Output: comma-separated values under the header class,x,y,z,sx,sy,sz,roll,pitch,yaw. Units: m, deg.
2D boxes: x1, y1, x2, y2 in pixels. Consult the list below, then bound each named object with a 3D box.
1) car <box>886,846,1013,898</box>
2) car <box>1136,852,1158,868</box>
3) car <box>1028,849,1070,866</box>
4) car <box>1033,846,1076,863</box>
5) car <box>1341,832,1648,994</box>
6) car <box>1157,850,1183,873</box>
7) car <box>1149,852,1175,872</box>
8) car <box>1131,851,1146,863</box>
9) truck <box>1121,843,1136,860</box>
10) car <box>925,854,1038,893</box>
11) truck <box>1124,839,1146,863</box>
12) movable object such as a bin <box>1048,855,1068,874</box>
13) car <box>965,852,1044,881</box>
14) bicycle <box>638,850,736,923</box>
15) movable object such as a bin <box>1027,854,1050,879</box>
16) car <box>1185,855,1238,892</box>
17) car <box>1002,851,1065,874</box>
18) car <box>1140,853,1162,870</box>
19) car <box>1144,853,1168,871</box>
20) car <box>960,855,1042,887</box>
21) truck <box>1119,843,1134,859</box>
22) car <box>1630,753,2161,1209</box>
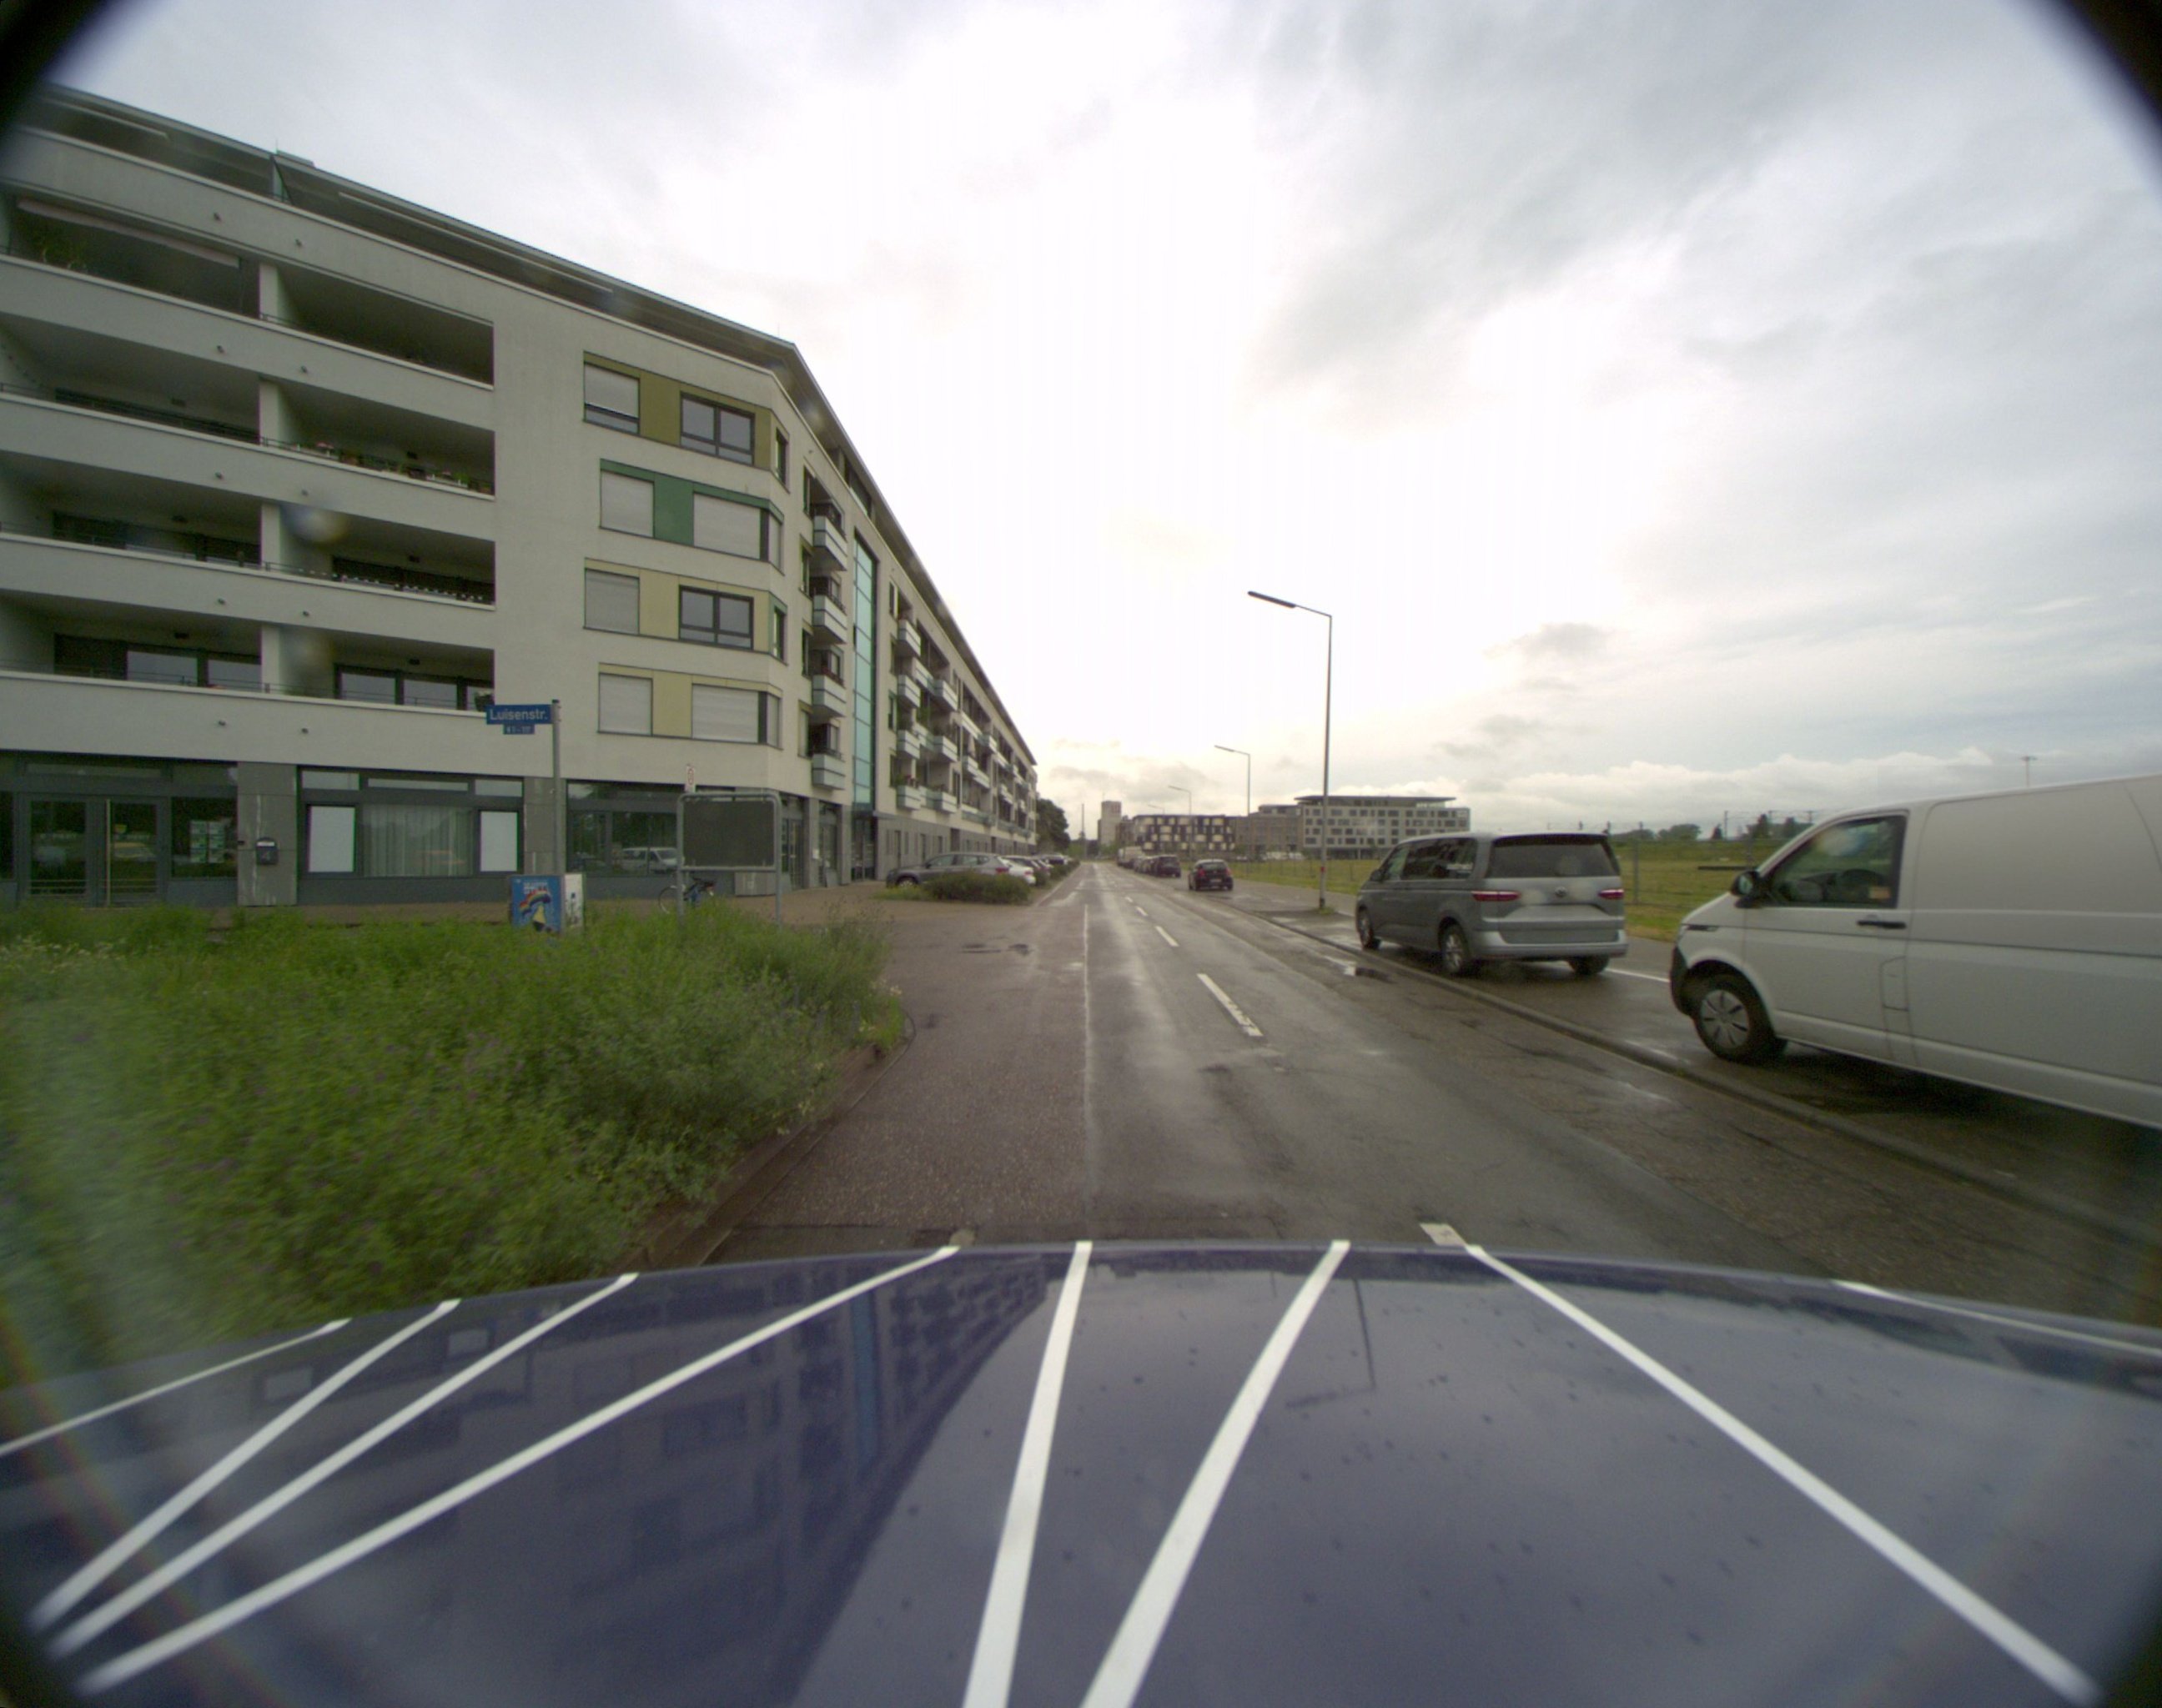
class,x,y,z,sx,sy,sz,roll,pitch,yaw
car,-4.557,0.597,26.899,4.100,1.614,1.966,2,1,0
car,6.967,0.597,81.000,1.857,1.598,4.988,-3,0,0
car,-3.304,0.369,79.183,4.218,1.634,1.686,1,1,0
car,-3.205,0.085,92.000,5.062,1.917,1.982,2,1,1
car,5.693,0.680,11.388,1.960,1.890,4.995,-1,0,1
car,6.697,0.553,57.549,1.756,1.683,4.882,0,0,4
car,6.710,0.631,63.217,1.757,1.581,4.133,0,0,1
car,7.136,0.394,94.191,1.676,1.454,4.156,0,0,1
truck,7.590,-0.418,122.176,2.180,2.591,6.131,0,0,1
car,-4.107,0.803,31.834,4.420,1.397,1.910,2,1,0
truck,7.187,-0.418,102.081,2.442,3.050,6.700,-1,0,1
movable object such as a bin,-1.902,0.894,63.292,1.499,1.484,1.155,3,1,1
car,-4.147,0.660,41.687,4.070,1.488,2.058,1,0,1
bicycle,-8.702,0.684,16.759,2.189,1.514,0.631,1,1,21
movable object such as a bin,-2.627,0.767,47.457,1.303,1.517,1.581,-1,1,1
car,6.119,0.881,36.077,1.851,1.552,4.152,-2,0,1
car,-3.403,0.598,54.795,4.357,1.521,1.893,2,1,1
car,6.864,0.697,74.637,1.842,1.520,4.670,-2,1,1
car,6.770,0.689,69.111,1.730,1.566,4.209,0,1,0
car,-4.067,0.864,39.273,3.997,1.470,1.879,1,0,0
truck,7.726,-0.532,129.392,2.180,2.730,5.290,0,0,1
car,5.708,0.553,4.023,1.899,2.002,5.258,0,0,1
